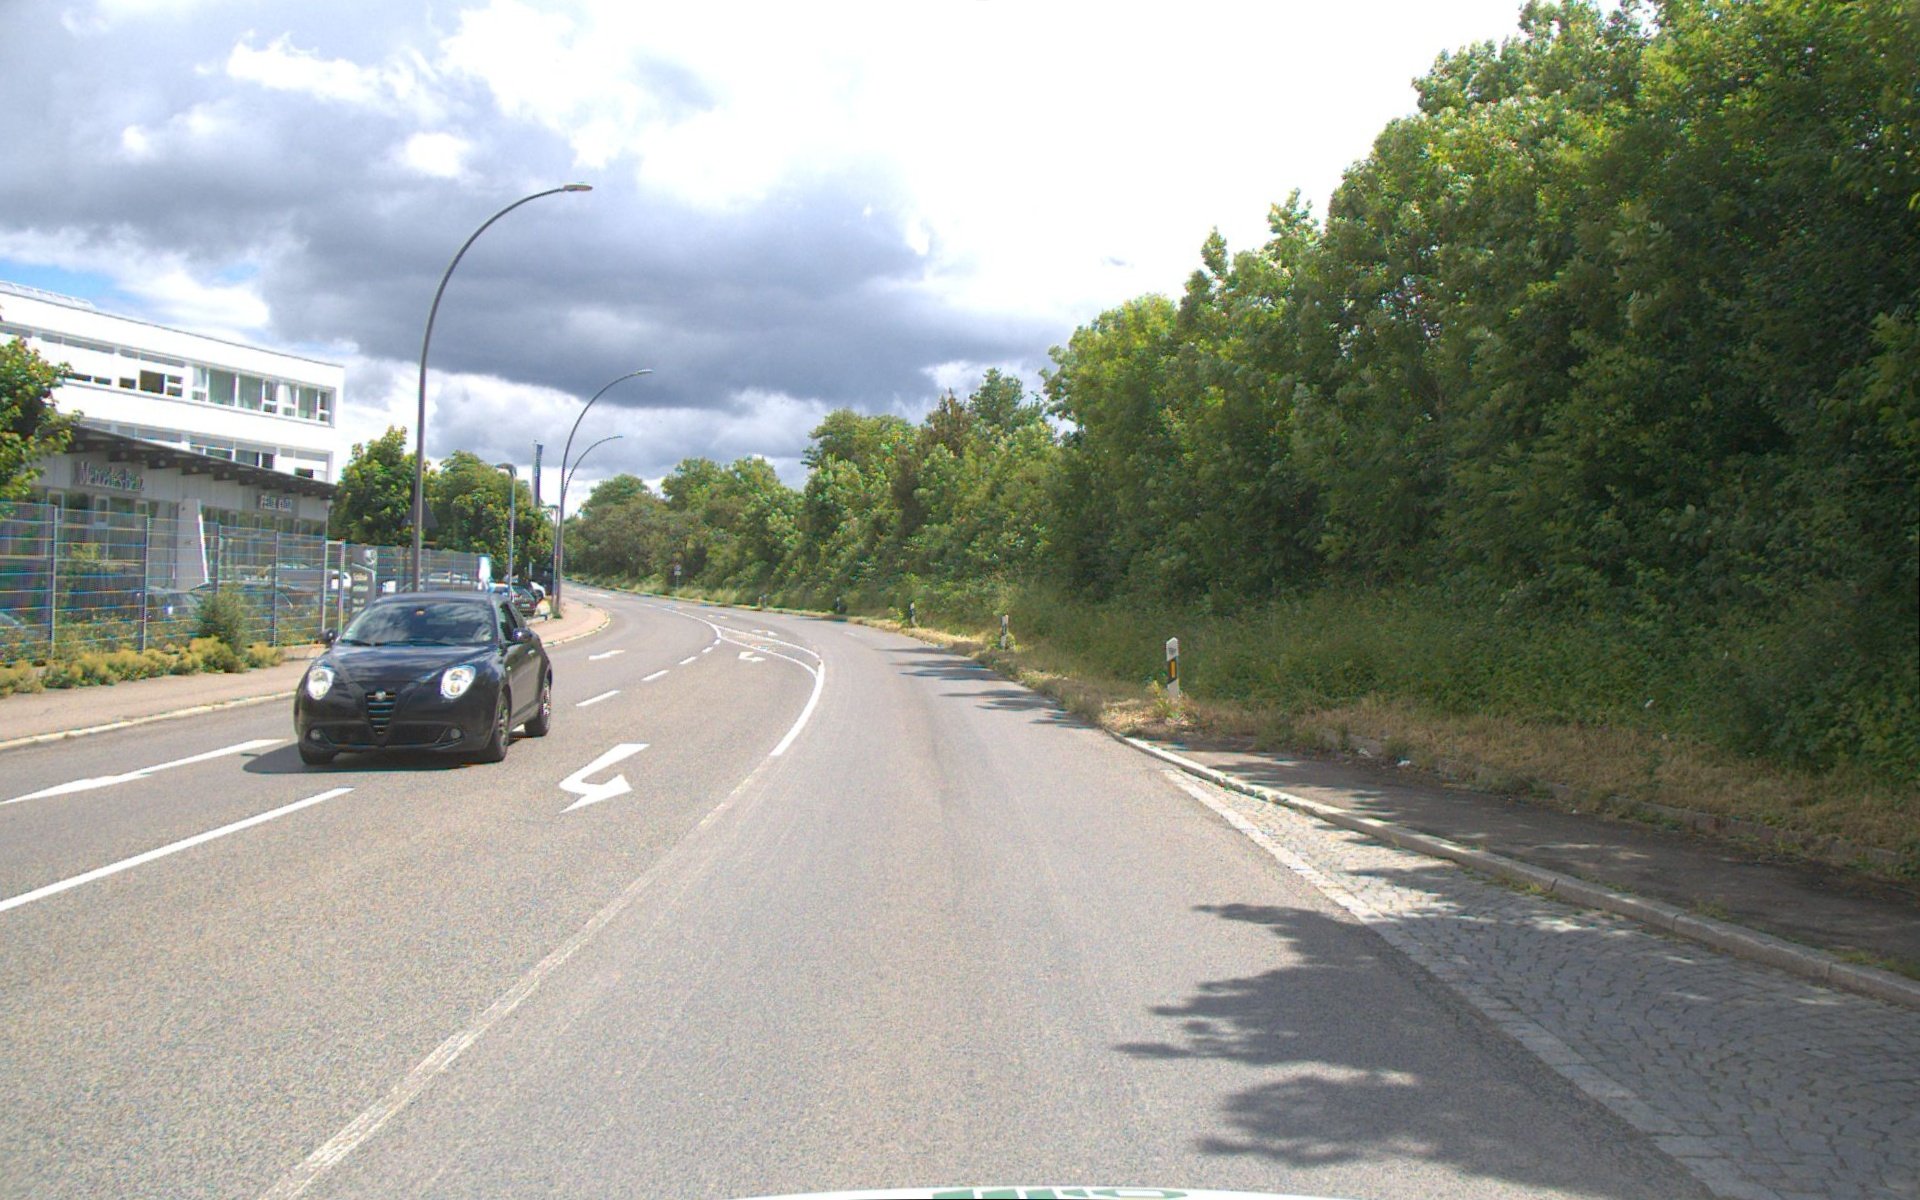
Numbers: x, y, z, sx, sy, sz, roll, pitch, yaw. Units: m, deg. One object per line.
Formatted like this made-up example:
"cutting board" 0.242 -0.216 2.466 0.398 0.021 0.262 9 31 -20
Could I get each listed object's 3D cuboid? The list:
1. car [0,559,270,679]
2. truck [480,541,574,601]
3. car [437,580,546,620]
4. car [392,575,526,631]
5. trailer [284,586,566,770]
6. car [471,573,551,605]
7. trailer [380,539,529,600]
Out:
"car" -13.667 0.281 26.679 4.107 1.730 2.173 2 0 -2
"truck" -30.845 -2.069 117.777 6.048 4.165 2.800 0 1 -28
"car" -19.701 0.008 69.603 4.105 1.505 1.795 2 0 21
"car" -17.304 0.105 57.186 3.893 1.730 2.173 2 0 21
"trailer" -4.751 0.612 15.236 1.615 1.448 3.996 1 1 -5
"car" -27.161 -0.657 100.150 1.967 1.793 4.283 2 0 45
"trailer" -35.187 -2.104 115.381 9.614 4.165 2.799 0 1 -29
